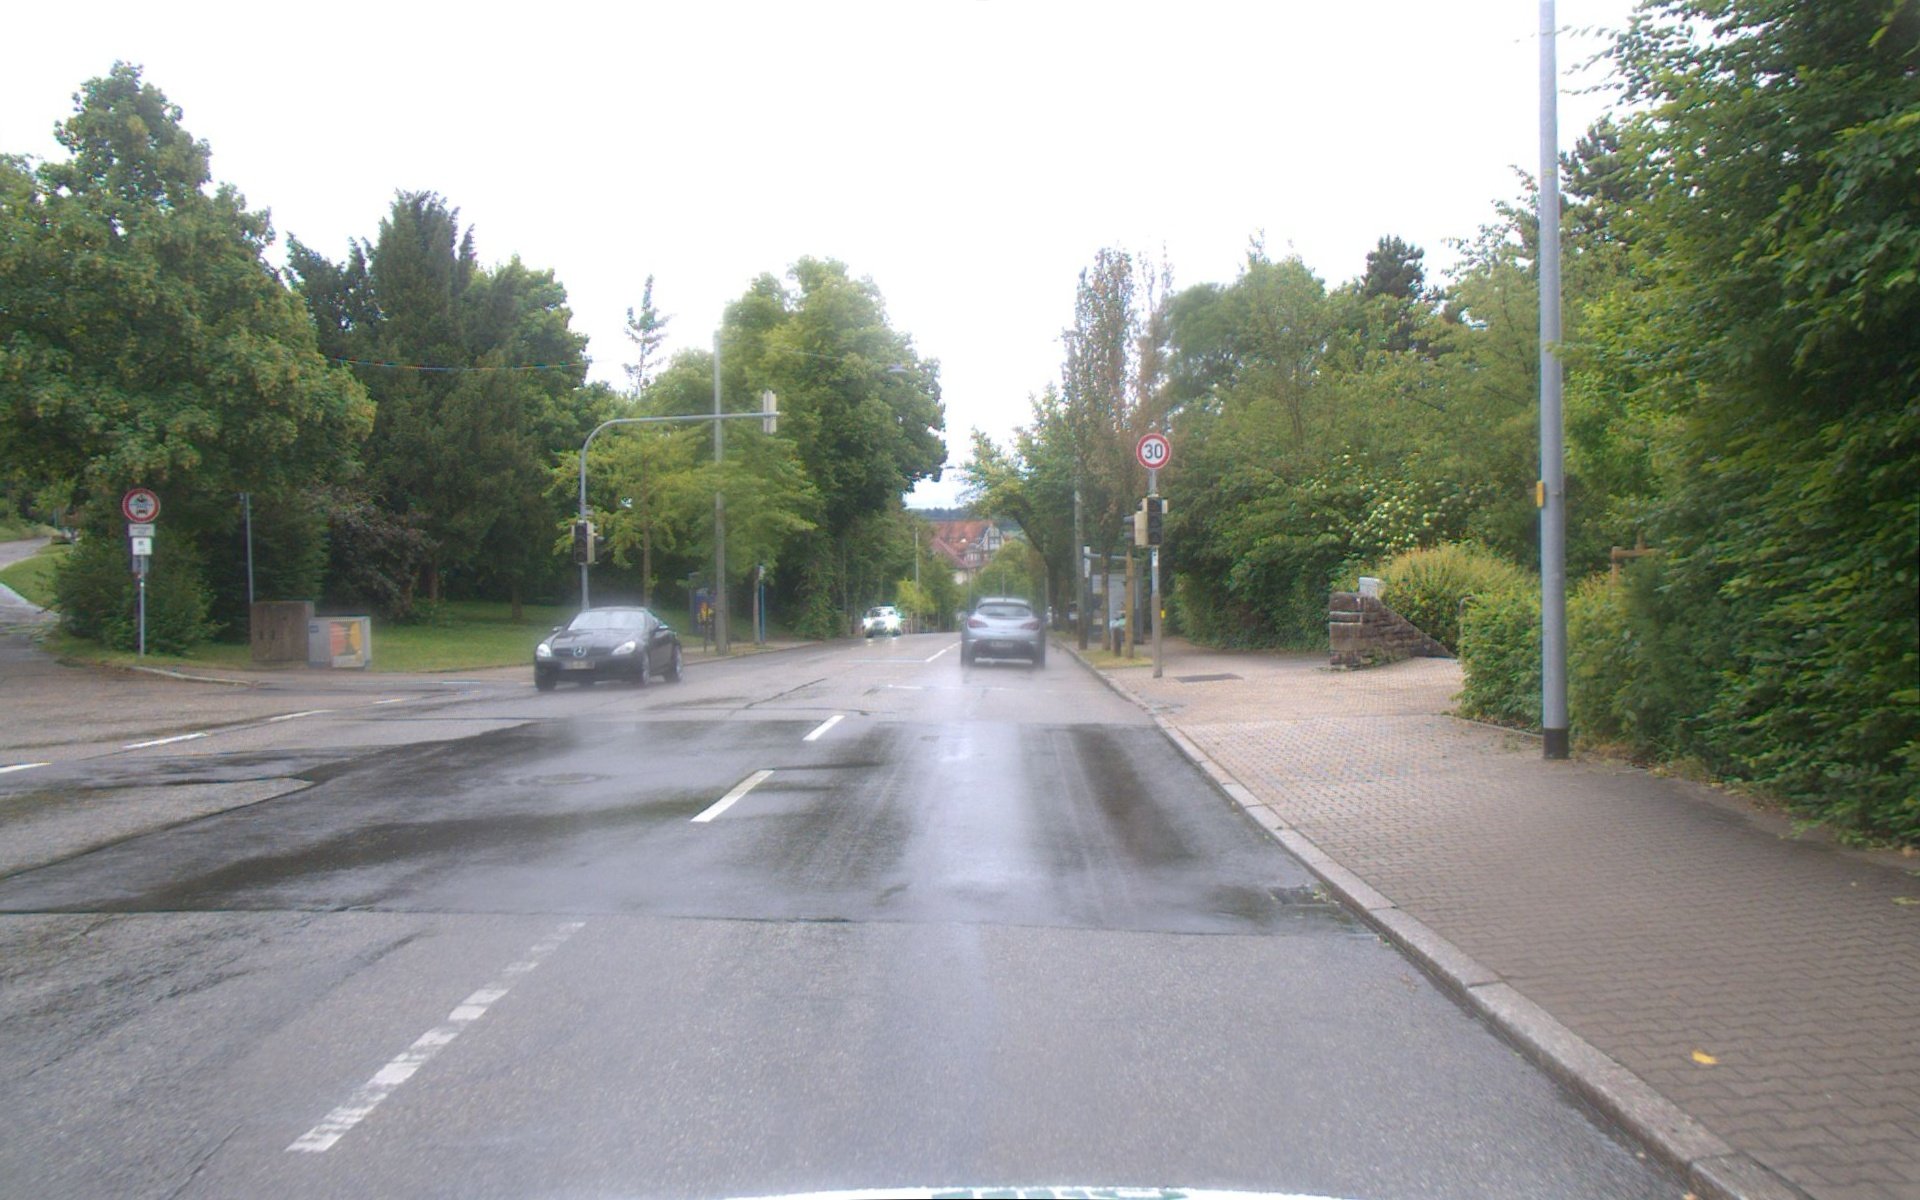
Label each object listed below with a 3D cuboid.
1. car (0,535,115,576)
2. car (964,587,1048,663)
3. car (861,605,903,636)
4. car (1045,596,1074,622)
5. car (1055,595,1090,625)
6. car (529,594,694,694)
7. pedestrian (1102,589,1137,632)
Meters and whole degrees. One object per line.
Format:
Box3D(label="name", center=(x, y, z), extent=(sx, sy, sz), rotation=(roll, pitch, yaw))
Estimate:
Box3D(label="car", center=(-34.670, -1.677, 63.383), extent=(3.840, 1.512, 1.923), rotation=(0, 0, -21))
Box3D(label="car", center=(0.973, 0.501, 36.231), extent=(1.718, 1.489, 4.001), rotation=(1, 1, 0))
Box3D(label="car", center=(-3.807, 0.995, 81.000), extent=(1.686, 1.423, 4.001), rotation=(1, 0, 2))
Box3D(label="car", center=(6.153, 0.559, 102.611), extent=(1.686, 1.489, 4.001), rotation=(-2, 0, 2))
Box3D(label="car", center=(5.935, 0.504, 87.446), extent=(1.686, 1.489, 4.001), rotation=(-2, 0, 2))
Box3D(label="car", center=(-5.584, 0.655, 26.990), extent=(1.626, 1.329, 4.085), rotation=(-3, 2, 2))
Box3D(label="pedestrian", center=(5.273, 0.343, 54.613), extent=(1.051, 1.379, 0.919), rotation=(-2, 0, 9))
